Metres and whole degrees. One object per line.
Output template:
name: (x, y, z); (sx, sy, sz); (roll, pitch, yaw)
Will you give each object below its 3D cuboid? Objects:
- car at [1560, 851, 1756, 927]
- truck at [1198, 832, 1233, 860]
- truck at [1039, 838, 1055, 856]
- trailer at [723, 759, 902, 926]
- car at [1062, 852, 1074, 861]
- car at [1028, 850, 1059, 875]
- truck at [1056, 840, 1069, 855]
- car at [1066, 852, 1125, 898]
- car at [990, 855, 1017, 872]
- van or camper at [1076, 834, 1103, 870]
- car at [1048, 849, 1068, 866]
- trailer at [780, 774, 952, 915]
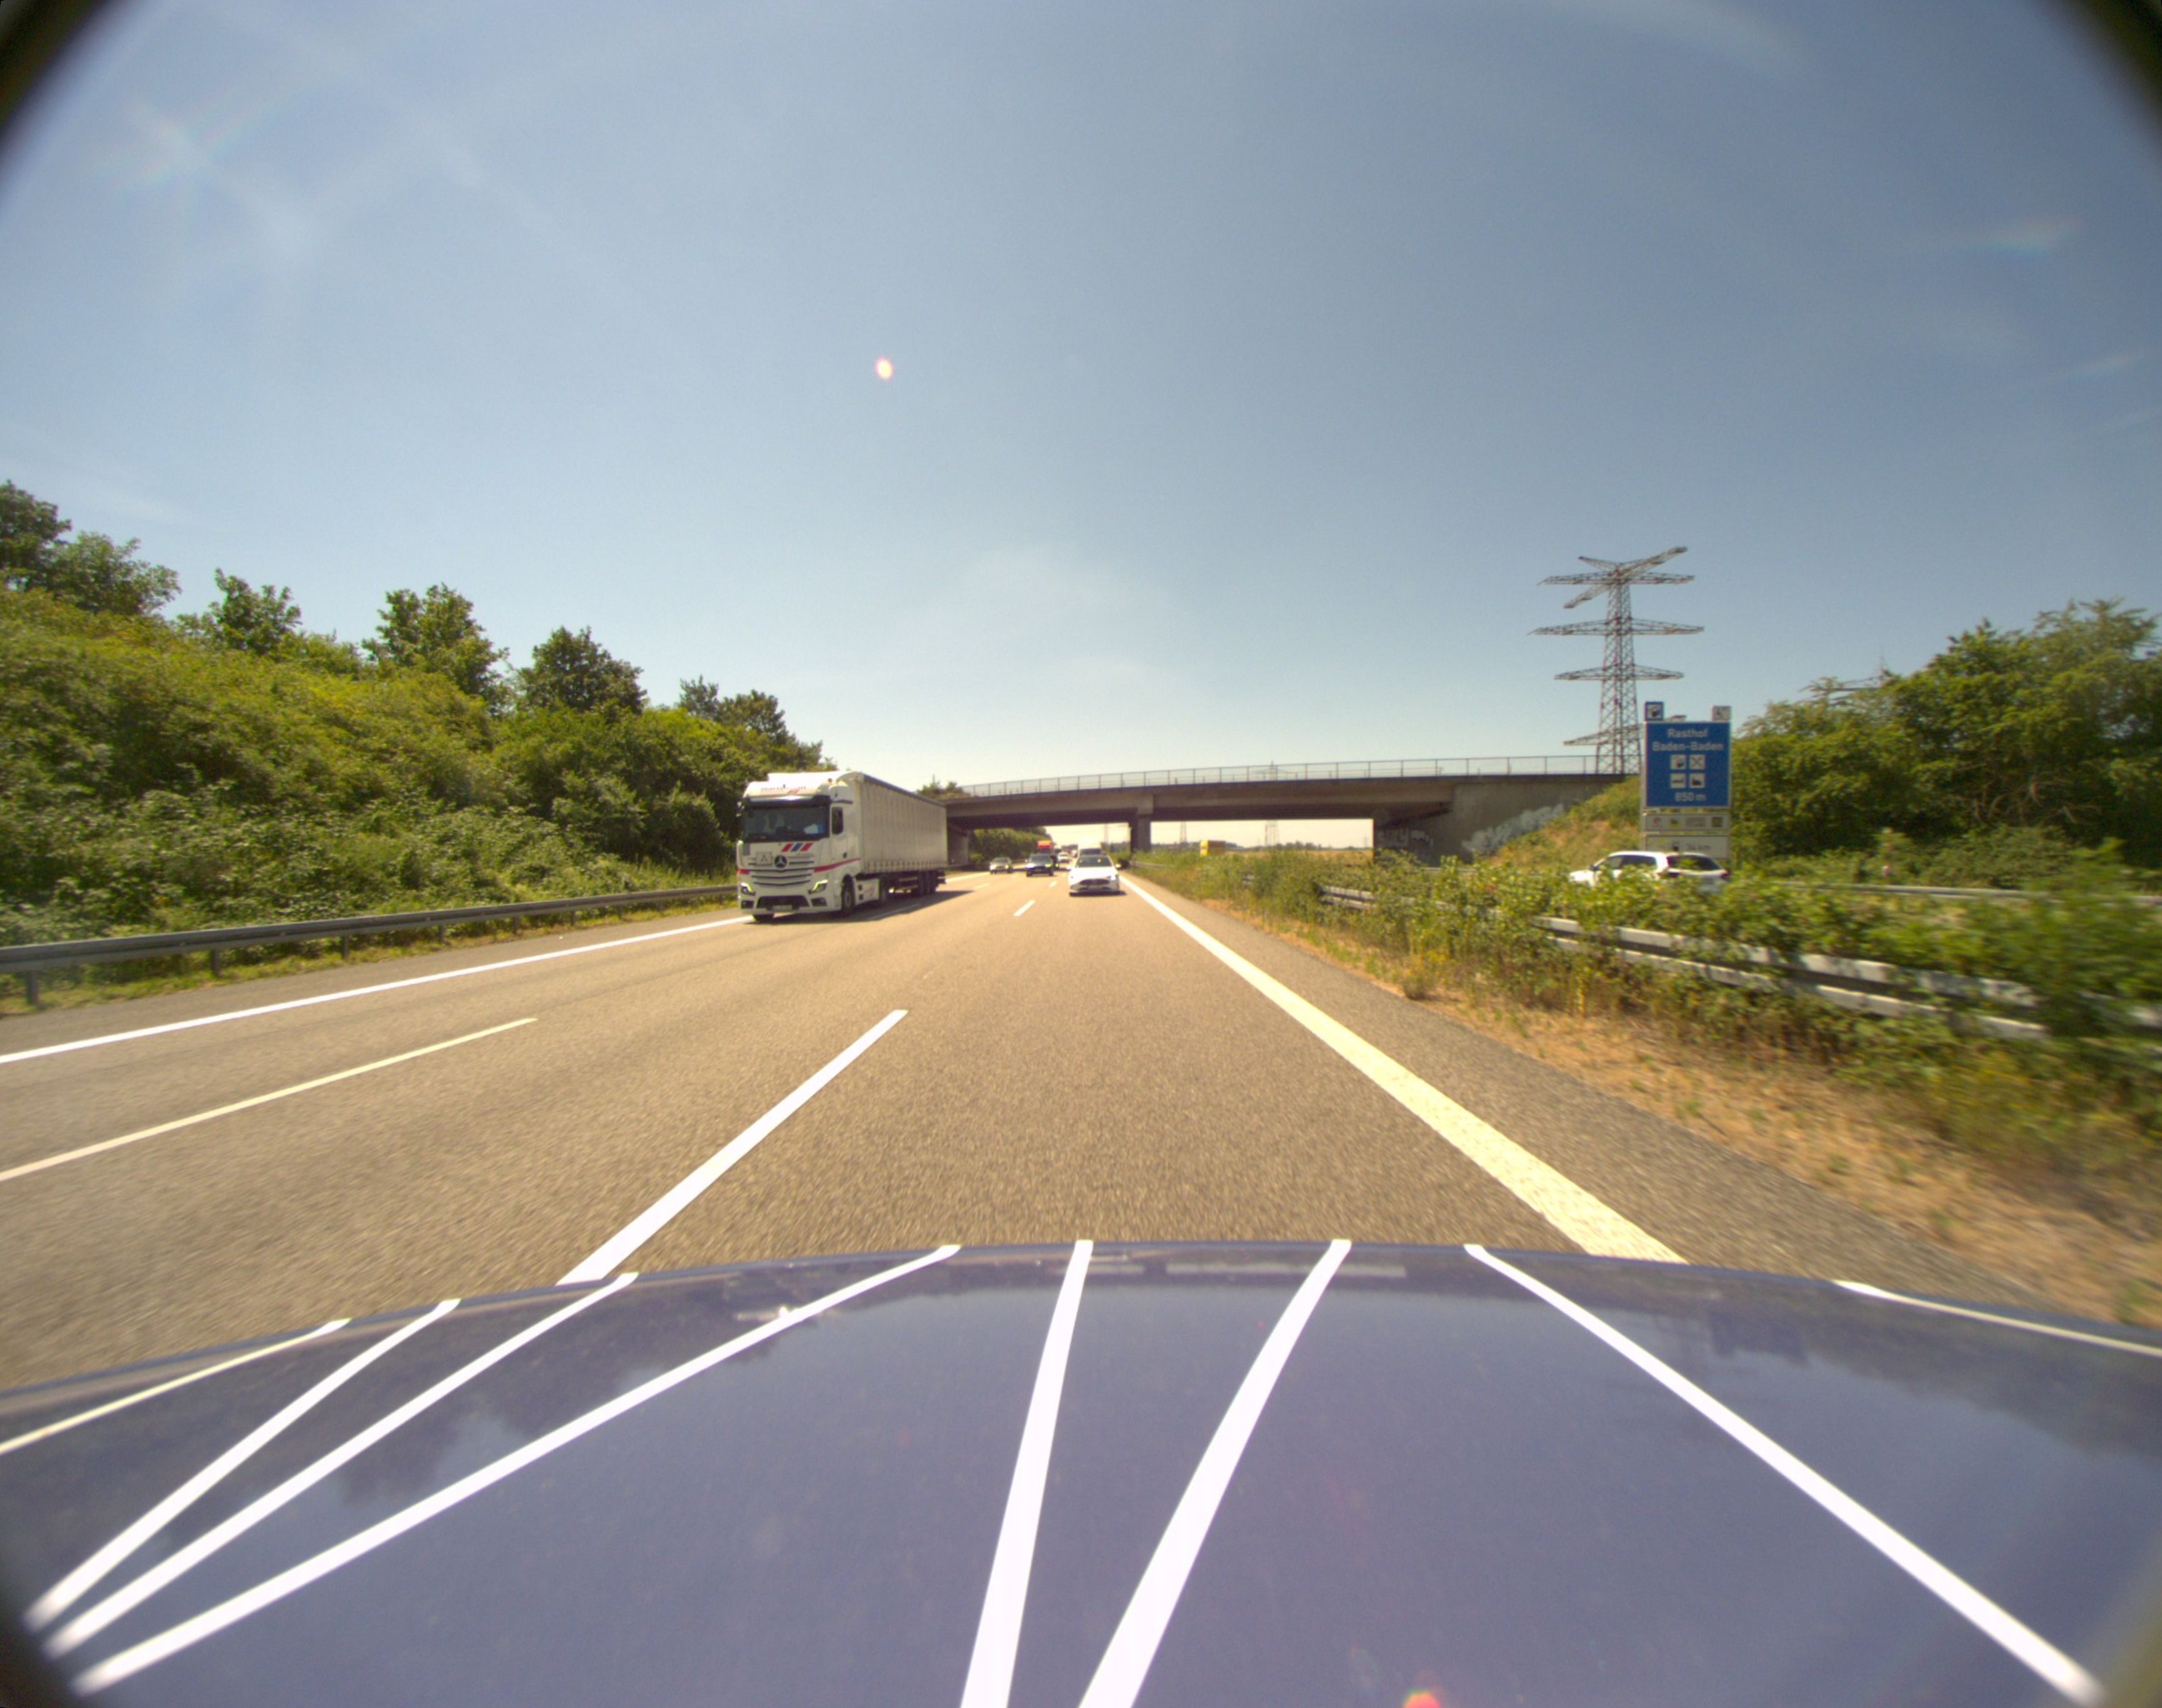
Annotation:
car: (14.221, 0.797, 19.065); (1.846, 1.642, 4.013); (-2, 0, 0)
truck: (19.514, -1.145, 110.870); (3.520, 3.840, 8.661); (-2, 0, 1)
truck: (-6.269, -1.281, 141.114); (2.581, 3.204, 5.712); (-3, 1, 0)
trailer: (-7.458, -0.303, 22.274); (2.720, 4.079, 6.788); (-1, 1, 0)
car: (-2.086, 0.389, 123.610); (1.984, 1.525, 4.137); (-1, 0, 0)
car: (-2.705, 0.595, 55.805); (1.984, 1.671, 4.558); (-1, 0, 0)
truck: (-5.104, -1.719, 207.868); (3.507, 3.891, 9.646); (-1, 1, -1)
car: (0.507, 0.736, 28.719); (1.984, 1.525, 4.558); (-3, 0, 0)
car: (-6.919, 0.854, 68.201); (1.840, 1.403, 4.558); (-2, 0, 0)
van or camper: (0.769, -0.162, 62.047); (1.998, 2.740, 5.410); (-2, 0, 2)
car: (-2.426, 0.366, 80.043); (1.984, 1.671, 4.558); (0, 1, 0)
trailer: (-7.475, -0.321, 29.063); (2.735, 4.079, 13.187); (-1, 0, 0)
